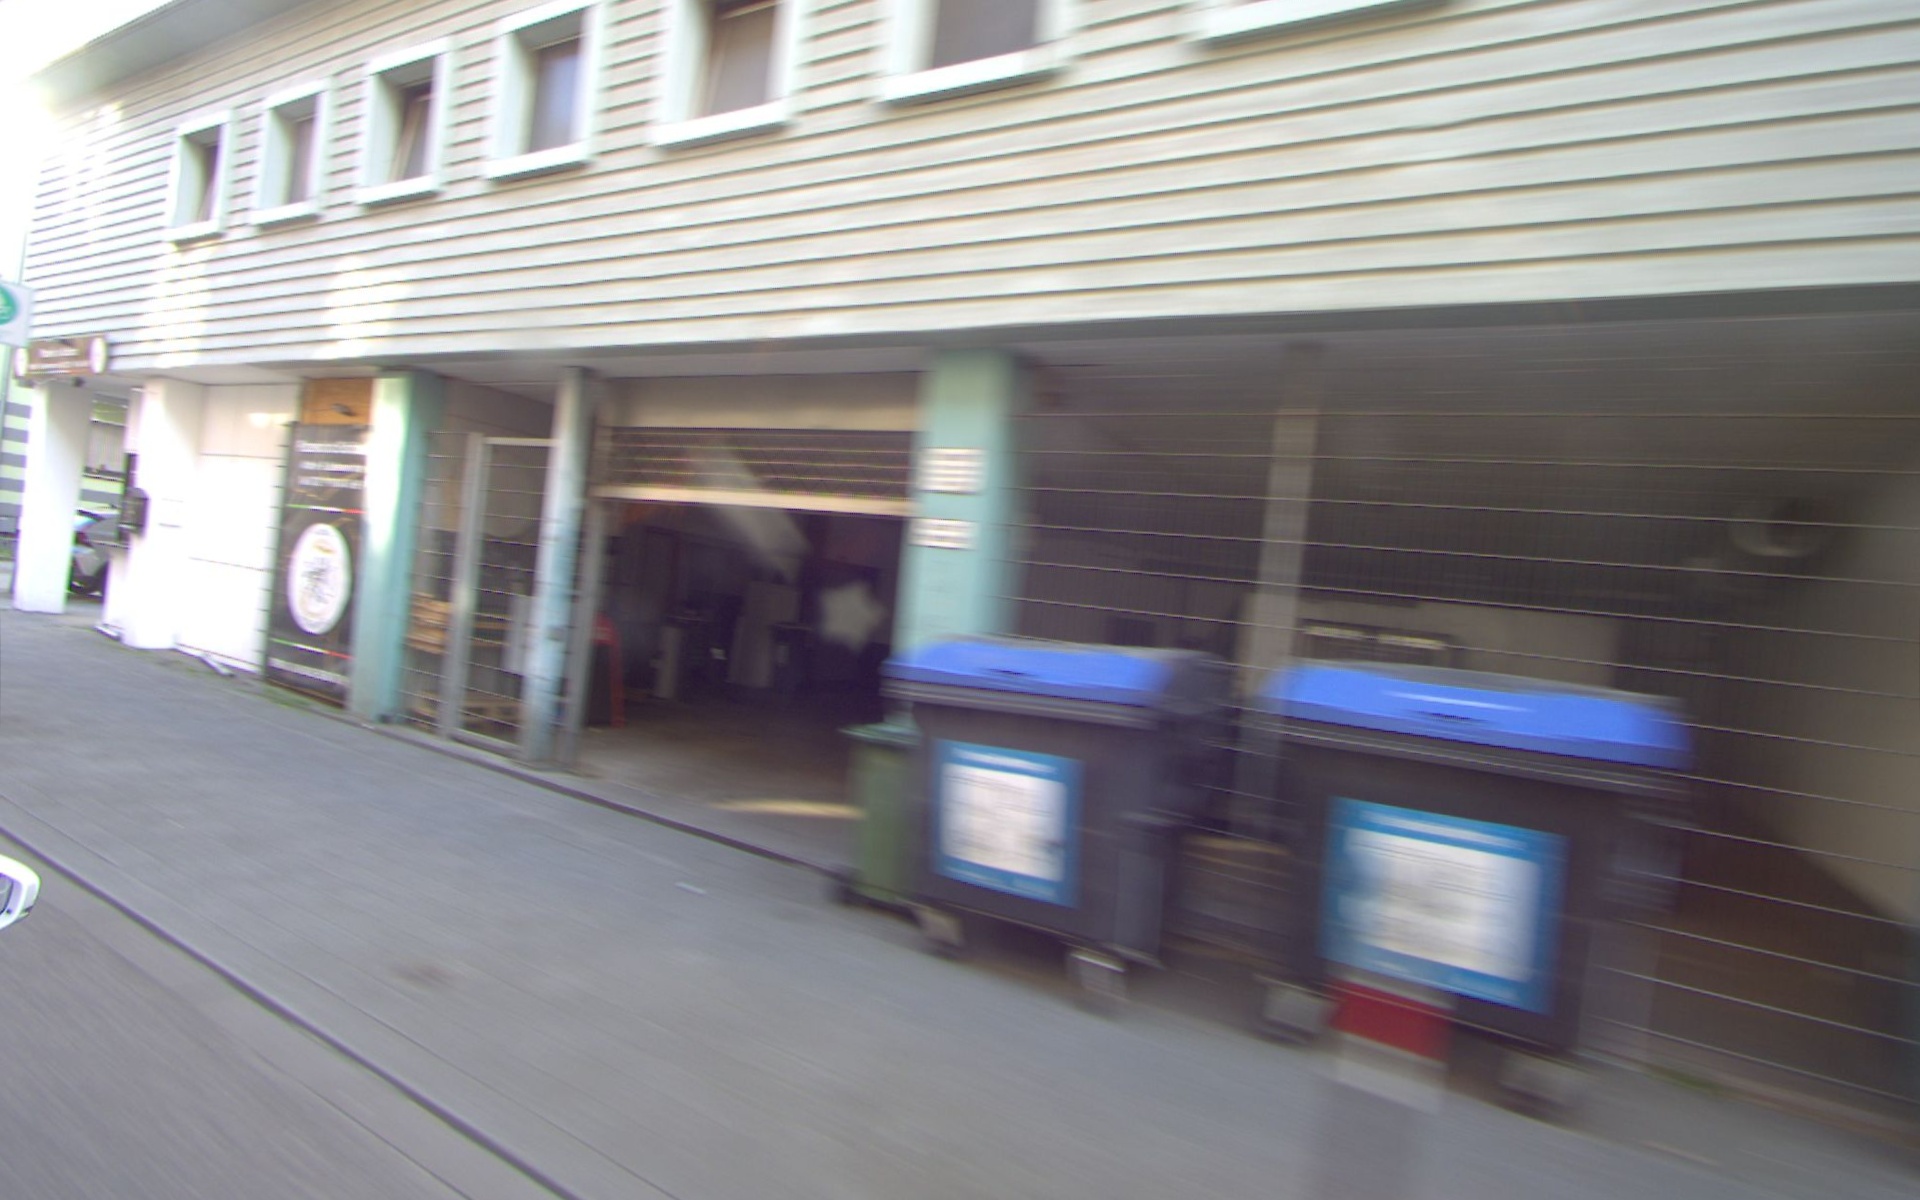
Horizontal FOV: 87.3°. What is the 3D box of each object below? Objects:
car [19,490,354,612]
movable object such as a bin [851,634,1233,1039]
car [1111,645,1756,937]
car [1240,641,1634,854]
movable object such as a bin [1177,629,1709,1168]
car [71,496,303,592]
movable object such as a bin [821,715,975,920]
[{"bbox_3d":[-13.061,-0.758,17.265,1.834,1.500,4.086,7,-1,29],"label":"car"},{"bbox_3d":[0.379,0.915,4.489,1.299,1.402,0.982,5,0,32],"label":"movable object such as a bin"},{"bbox_3d":[3.603,1.317,8.255,4.207,1.451,1.830,5,0,28],"label":"car"},{"bbox_3d":[4.886,1.403,10.546,3.340,1.488,1.585,7,1,29],"label":"car"},{"bbox_3d":[1.783,0.933,3.833,1.526,1.498,0.982,5,0,32],"label":"movable object such as a bin"},{"bbox_3d":[-16.767,-1.170,21.992,1.680,1.499,3.552,7,-1,30],"label":"car"},{"bbox_3d":[-0.315,1.095,5.243,0.514,0.910,0.557,5,0,32],"label":"movable object such as a bin"}]
